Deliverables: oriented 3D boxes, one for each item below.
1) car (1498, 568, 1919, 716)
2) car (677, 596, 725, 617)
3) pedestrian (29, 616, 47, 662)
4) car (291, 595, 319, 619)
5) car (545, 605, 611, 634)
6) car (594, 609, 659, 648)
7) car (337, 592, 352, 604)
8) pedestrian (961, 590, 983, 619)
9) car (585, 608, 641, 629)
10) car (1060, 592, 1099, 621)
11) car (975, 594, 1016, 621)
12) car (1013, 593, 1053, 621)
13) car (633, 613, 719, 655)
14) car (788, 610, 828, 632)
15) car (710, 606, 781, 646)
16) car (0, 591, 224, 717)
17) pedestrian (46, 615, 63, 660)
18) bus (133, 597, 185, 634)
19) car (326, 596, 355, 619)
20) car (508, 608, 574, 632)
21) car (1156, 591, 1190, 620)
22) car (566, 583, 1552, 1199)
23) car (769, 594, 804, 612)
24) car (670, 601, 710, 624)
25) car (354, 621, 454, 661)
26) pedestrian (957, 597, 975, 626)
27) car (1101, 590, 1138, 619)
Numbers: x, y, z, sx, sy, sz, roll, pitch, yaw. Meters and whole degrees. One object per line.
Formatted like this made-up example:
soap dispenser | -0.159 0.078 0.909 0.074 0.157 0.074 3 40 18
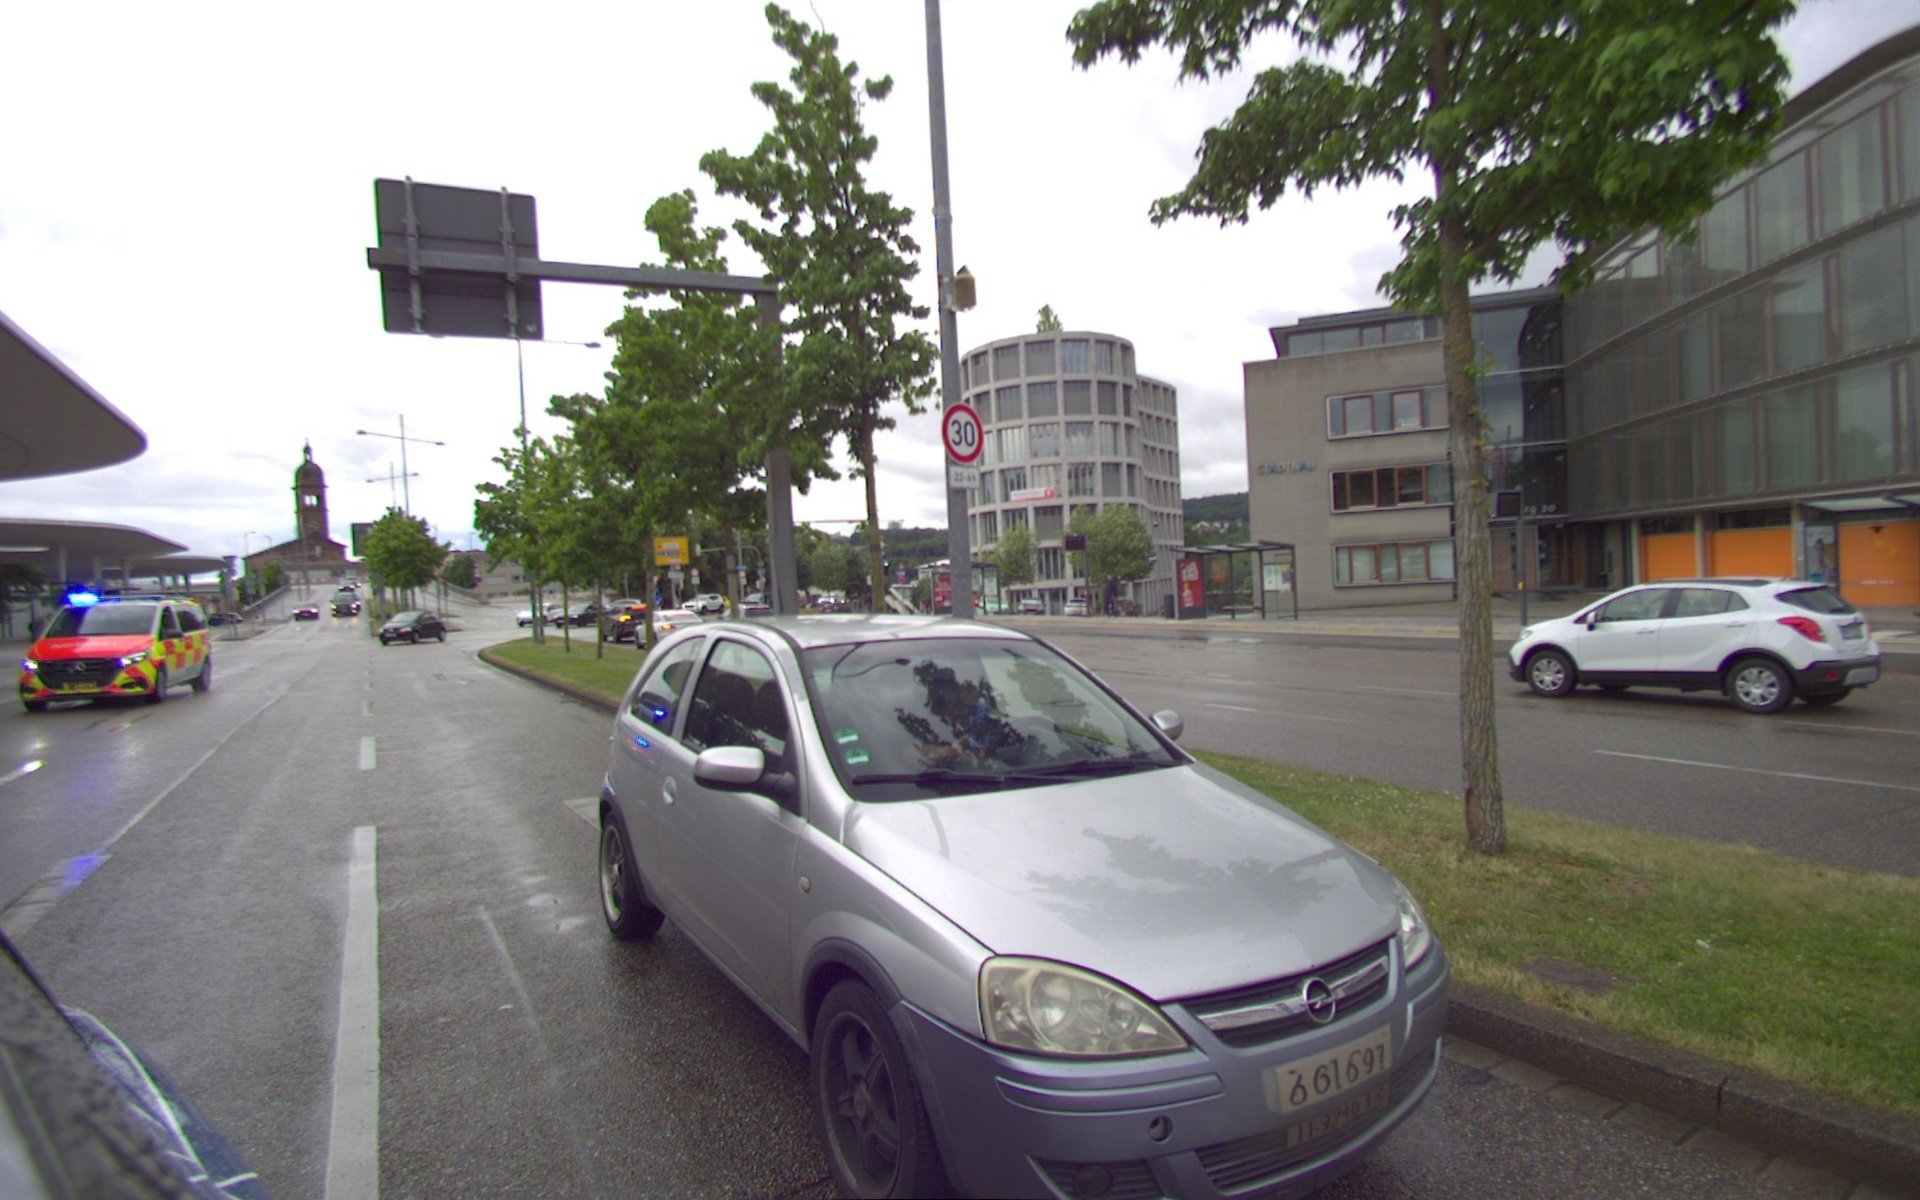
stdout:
car | 9.767 0.465 13.465 1.928 1.630 4.222 -1 0 -28
car | -20.948 0.495 81.989 1.860 1.646 4.278 -1 0 16
pedestrian | -36.499 1.525 40.061 0.438 1.777 0.538 -2 0 -37
car | -56.126 0.586 86.713 1.966 2.029 4.011 -1 0 -33
car | -24.314 1.228 64.639 1.860 1.715 4.136 -1 0 16
car | -14.356 1.173 43.457 1.977 1.566 4.178 -1 0 -28
car | -82.100 -0.306 134.949 1.524 1.572 3.659 -1 0 -35
pedestrian | 0.624 0.244 53.016 0.967 1.501 0.736 -1 0 -20
car | -28.536 1.506 83.321 4.090 1.646 1.881 -2 0 -10
car | 7.656 0.386 64.548 1.859 1.714 4.137 -2 0 15
car | 2.351 0.480 66.087 1.859 1.715 4.137 -1 0 15
car | 4.729 0.444 65.335 1.859 1.715 4.137 -1 0 15
car | -10.245 1.171 36.302 1.977 1.363 4.177 -1 0 -30
car | -11.918 1.625 79.096 1.853 1.566 4.015 -1 0 -27
car | -8.700 1.009 40.818 1.671 1.477 4.466 -1 0 -27
car | -15.691 0.885 19.058 1.965 2.029 5.078 -1 0 -25
pedestrian | -36.121 1.502 40.372 0.439 1.777 0.538 -2 0 -37
bus | -74.095 1.468 93.614 3.528 3.121 10.775 -2 0 -39
car | -55.120 0.685 90.042 1.967 2.029 4.010 -1 0 -35
car | -28.807 1.342 69.734 1.803 1.571 4.013 -1 0 27
car | 13.304 0.315 62.971 1.859 1.715 4.137 -1 0 15
car | -0.203 0.721 3.702 1.671 1.477 3.731 -1 0 -31
car | -16.651 0.289 97.370 1.858 1.646 4.141 -1 0 13
car | -18.974 0.876 71.047 1.853 1.566 4.015 -1 0 -27
car | -26.335 1.922 48.092 1.859 1.715 4.137 -1 0 15
pedestrian | 0.306 0.608 53.851 0.721 1.501 0.737 -1 0 -22
car | 10.155 0.277 64.177 1.859 1.715 4.137 -1 0 15
